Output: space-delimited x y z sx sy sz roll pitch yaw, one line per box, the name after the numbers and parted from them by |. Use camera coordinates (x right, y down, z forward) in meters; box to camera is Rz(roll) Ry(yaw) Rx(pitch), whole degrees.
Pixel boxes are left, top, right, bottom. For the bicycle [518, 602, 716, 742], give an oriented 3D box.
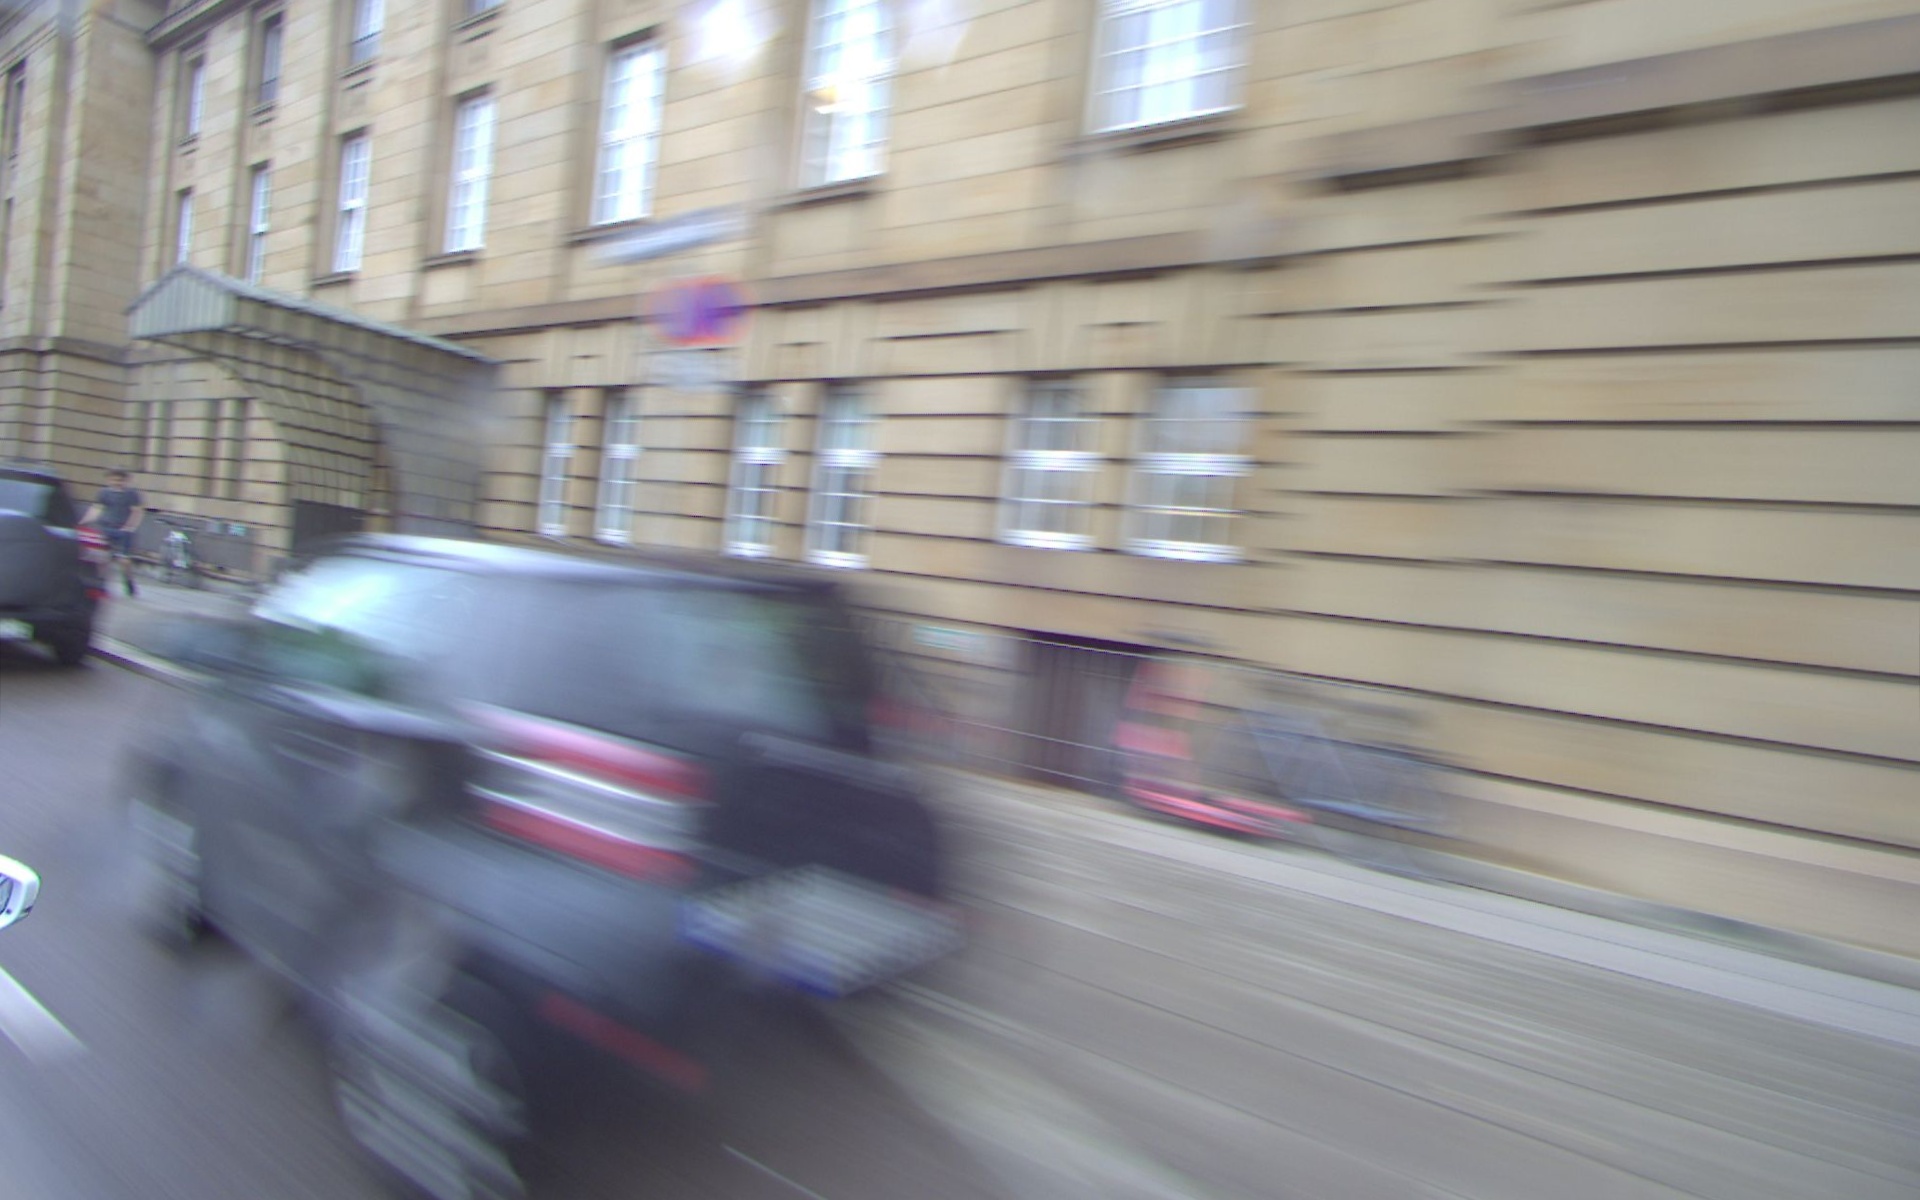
-3.240 0.653 9.480 1.710 1.064 0.713 6 0 29 | bicycle

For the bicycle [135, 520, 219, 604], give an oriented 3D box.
-12.982 -0.638 16.668 1.663 1.230 0.464 6 0 32 | bicycle

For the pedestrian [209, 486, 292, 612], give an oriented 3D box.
-10.606 -0.750 15.041 0.631 1.802 0.794 7 4 33 | pedestrian

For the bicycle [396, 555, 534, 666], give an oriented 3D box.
-5.560 0.105 11.255 1.732 1.051 0.583 6 0 37 | bicycle

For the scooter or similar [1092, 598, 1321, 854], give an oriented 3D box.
1.576 0.763 6.530 1.249 1.435 0.412 6 1 37 | scooter or similar

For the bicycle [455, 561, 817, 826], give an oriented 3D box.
-1.939 0.487 6.003 1.929 1.235 0.777 6 2 22 | bicycle

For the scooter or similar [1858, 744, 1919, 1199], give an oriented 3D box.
3.323 1.141 2.684 1.234 1.309 0.435 6 0 9 | scooter or similar

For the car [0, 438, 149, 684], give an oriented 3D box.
-8.841 -0.471 8.475 4.123 1.803 1.994 6 0 36 | car

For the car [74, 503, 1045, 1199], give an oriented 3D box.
-1.523 0.480 3.447 3.105 1.434 1.754 6 5 38 | car

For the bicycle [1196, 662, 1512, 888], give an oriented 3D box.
2.408 1.026 6.348 0.417 1.062 1.750 6 0 -44 | bicycle

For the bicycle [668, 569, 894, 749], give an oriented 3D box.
-1.545 0.471 8.624 1.728 1.285 0.731 6 1 28 | bicycle
